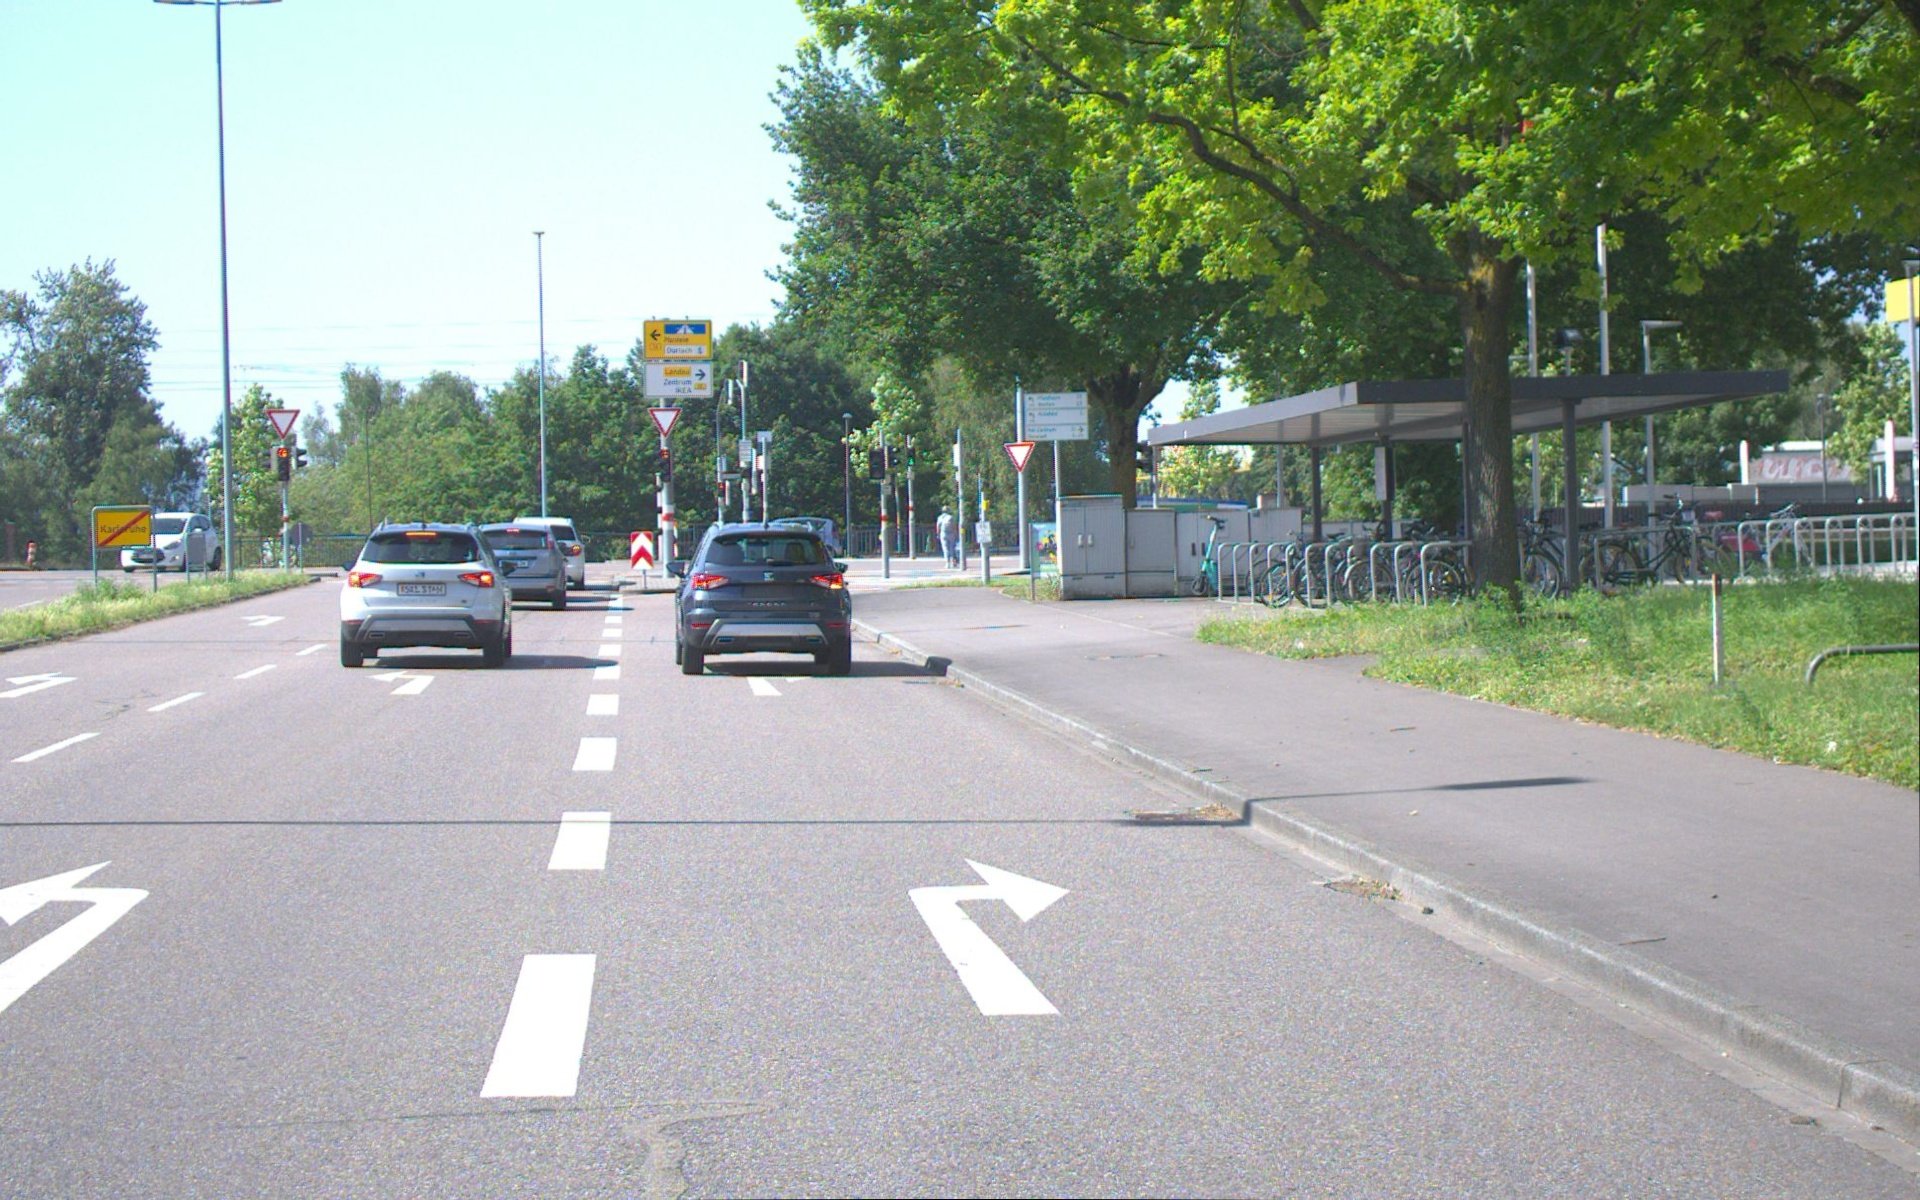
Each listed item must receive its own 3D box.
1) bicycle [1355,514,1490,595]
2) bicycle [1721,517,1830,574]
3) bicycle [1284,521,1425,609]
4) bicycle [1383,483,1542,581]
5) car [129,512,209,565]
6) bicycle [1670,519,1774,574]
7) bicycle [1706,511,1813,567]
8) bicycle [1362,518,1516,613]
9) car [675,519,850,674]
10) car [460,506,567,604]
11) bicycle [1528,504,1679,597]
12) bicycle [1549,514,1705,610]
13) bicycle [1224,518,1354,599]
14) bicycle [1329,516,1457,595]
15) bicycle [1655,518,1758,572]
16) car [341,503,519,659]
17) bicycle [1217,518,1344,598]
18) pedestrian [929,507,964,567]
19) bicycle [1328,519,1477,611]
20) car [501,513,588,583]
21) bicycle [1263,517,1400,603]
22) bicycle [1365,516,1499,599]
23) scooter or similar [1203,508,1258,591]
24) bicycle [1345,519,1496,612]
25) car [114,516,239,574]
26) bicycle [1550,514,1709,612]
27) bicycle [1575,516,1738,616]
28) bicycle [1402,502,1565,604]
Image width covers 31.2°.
[{"bbox_3d":[6.561,-0.650,48.795,1.828,1.092,0.452,-2,2,-5],"label":"bicycle"},{"bbox_3d":[12.505,-0.835,52.723,1.561,0.840,0.434,-1,1,-3],"label":"bicycle"},{"bbox_3d":[5.170,-0.465,45.071,1.758,1.092,0.452,-2,2,-5],"label":"bicycle"},{"bbox_3d":[5.879,-0.801,40.272,1.758,1.092,0.463,-2,2,-5],"label":"bicycle"},{"bbox_3d":[-15.670,-1.226,68.174,1.117,1.000,2.492,-2,2,-3],"label":"car"},{"bbox_3d":[12.215,-0.856,55.147,1.561,0.840,0.434,-1,1,-3],"label":"bicycle"},{"bbox_3d":[12.462,-0.955,53.589,1.561,0.840,0.434,-1,1,-3],"label":"bicycle"},{"bbox_3d":[5.784,-0.418,41.518,1.758,1.092,0.452,-2,2,-5],"label":"bicycle"},{"bbox_3d":[-2.088,-0.071,35.594,1.669,1.518,3.377,0,1,-6],"label":"car"},{"bbox_3d":[-7.702,-0.810,59.480,1.706,1.568,4.175,-2,2,-7],"label":"car"},{"bbox_3d":[7.987,-0.620,42.698,1.758,1.092,0.452,-2,2,-5],"label":"bicycle"},{"bbox_3d":[8.018,-0.457,41.325,1.758,1.092,0.452,-2,2,-5],"label":"bicycle"},{"bbox_3d":[4.664,-0.597,48.755,1.758,1.092,0.452,-2,2,-5],"label":"bicycle"},{"bbox_3d":[6.265,-0.648,49.798,1.758,1.092,0.452,-2,2,-5],"label":"bicycle"},{"bbox_3d":[12.153,-0.893,55.996,1.561,0.840,0.434,-1,1,-4],"label":"bicycle"},{"bbox_3d":[-5.736,-0.253,37.552,1.630,1.493,3.871,-1,3,-4],"label":"car"},{"bbox_3d":[4.639,-0.608,49.757,1.758,1.092,0.452,-2,2,-5],"label":"bicycle"},{"bbox_3d":[-0.347,-1.638,89.130,0.773,1.505,1.007,-1,3,6],"label":"pedestrian"},{"bbox_3d":[5.527,-0.441,42.974,1.758,1.092,0.452,-2,2,-5],"label":"bicycle"},{"bbox_3d":[-8.968,-1.148,74.490,1.741,1.443,4.390,-1,2,-5],"label":"car"},{"bbox_3d":[5.010,-0.543,46.354,1.758,1.092,0.452,-2,2,-5],"label":"bicycle"},{"bbox_3d":[6.547,-0.591,47.655,1.758,1.092,0.452,-2,2,-5],"label":"bicycle"},{"bbox_3d":[4.229,-0.789,53.743,0.776,1.261,0.284,-2,2,-8],"label":"scooter or similar"},{"bbox_3d":[5.683,-0.428,42.428,1.758,1.092,0.452,-2,2,-5],"label":"bicycle"},{"bbox_3d":[-21.528,-1.521,94.622,1.795,1.541,4.085,-1,1,12],"label":"car"},{"bbox_3d":[7.896,-0.440,40.547,1.758,1.092,0.452,-2,2,-5],"label":"bicycle"},{"bbox_3d":[8.007,-0.396,39.537,1.758,1.092,0.452,-2,2,-5],"label":"bicycle"},{"bbox_3d":[5.991,-0.541,39.347,1.758,1.092,0.452,-2,1,-5],"label":"bicycle"}]
